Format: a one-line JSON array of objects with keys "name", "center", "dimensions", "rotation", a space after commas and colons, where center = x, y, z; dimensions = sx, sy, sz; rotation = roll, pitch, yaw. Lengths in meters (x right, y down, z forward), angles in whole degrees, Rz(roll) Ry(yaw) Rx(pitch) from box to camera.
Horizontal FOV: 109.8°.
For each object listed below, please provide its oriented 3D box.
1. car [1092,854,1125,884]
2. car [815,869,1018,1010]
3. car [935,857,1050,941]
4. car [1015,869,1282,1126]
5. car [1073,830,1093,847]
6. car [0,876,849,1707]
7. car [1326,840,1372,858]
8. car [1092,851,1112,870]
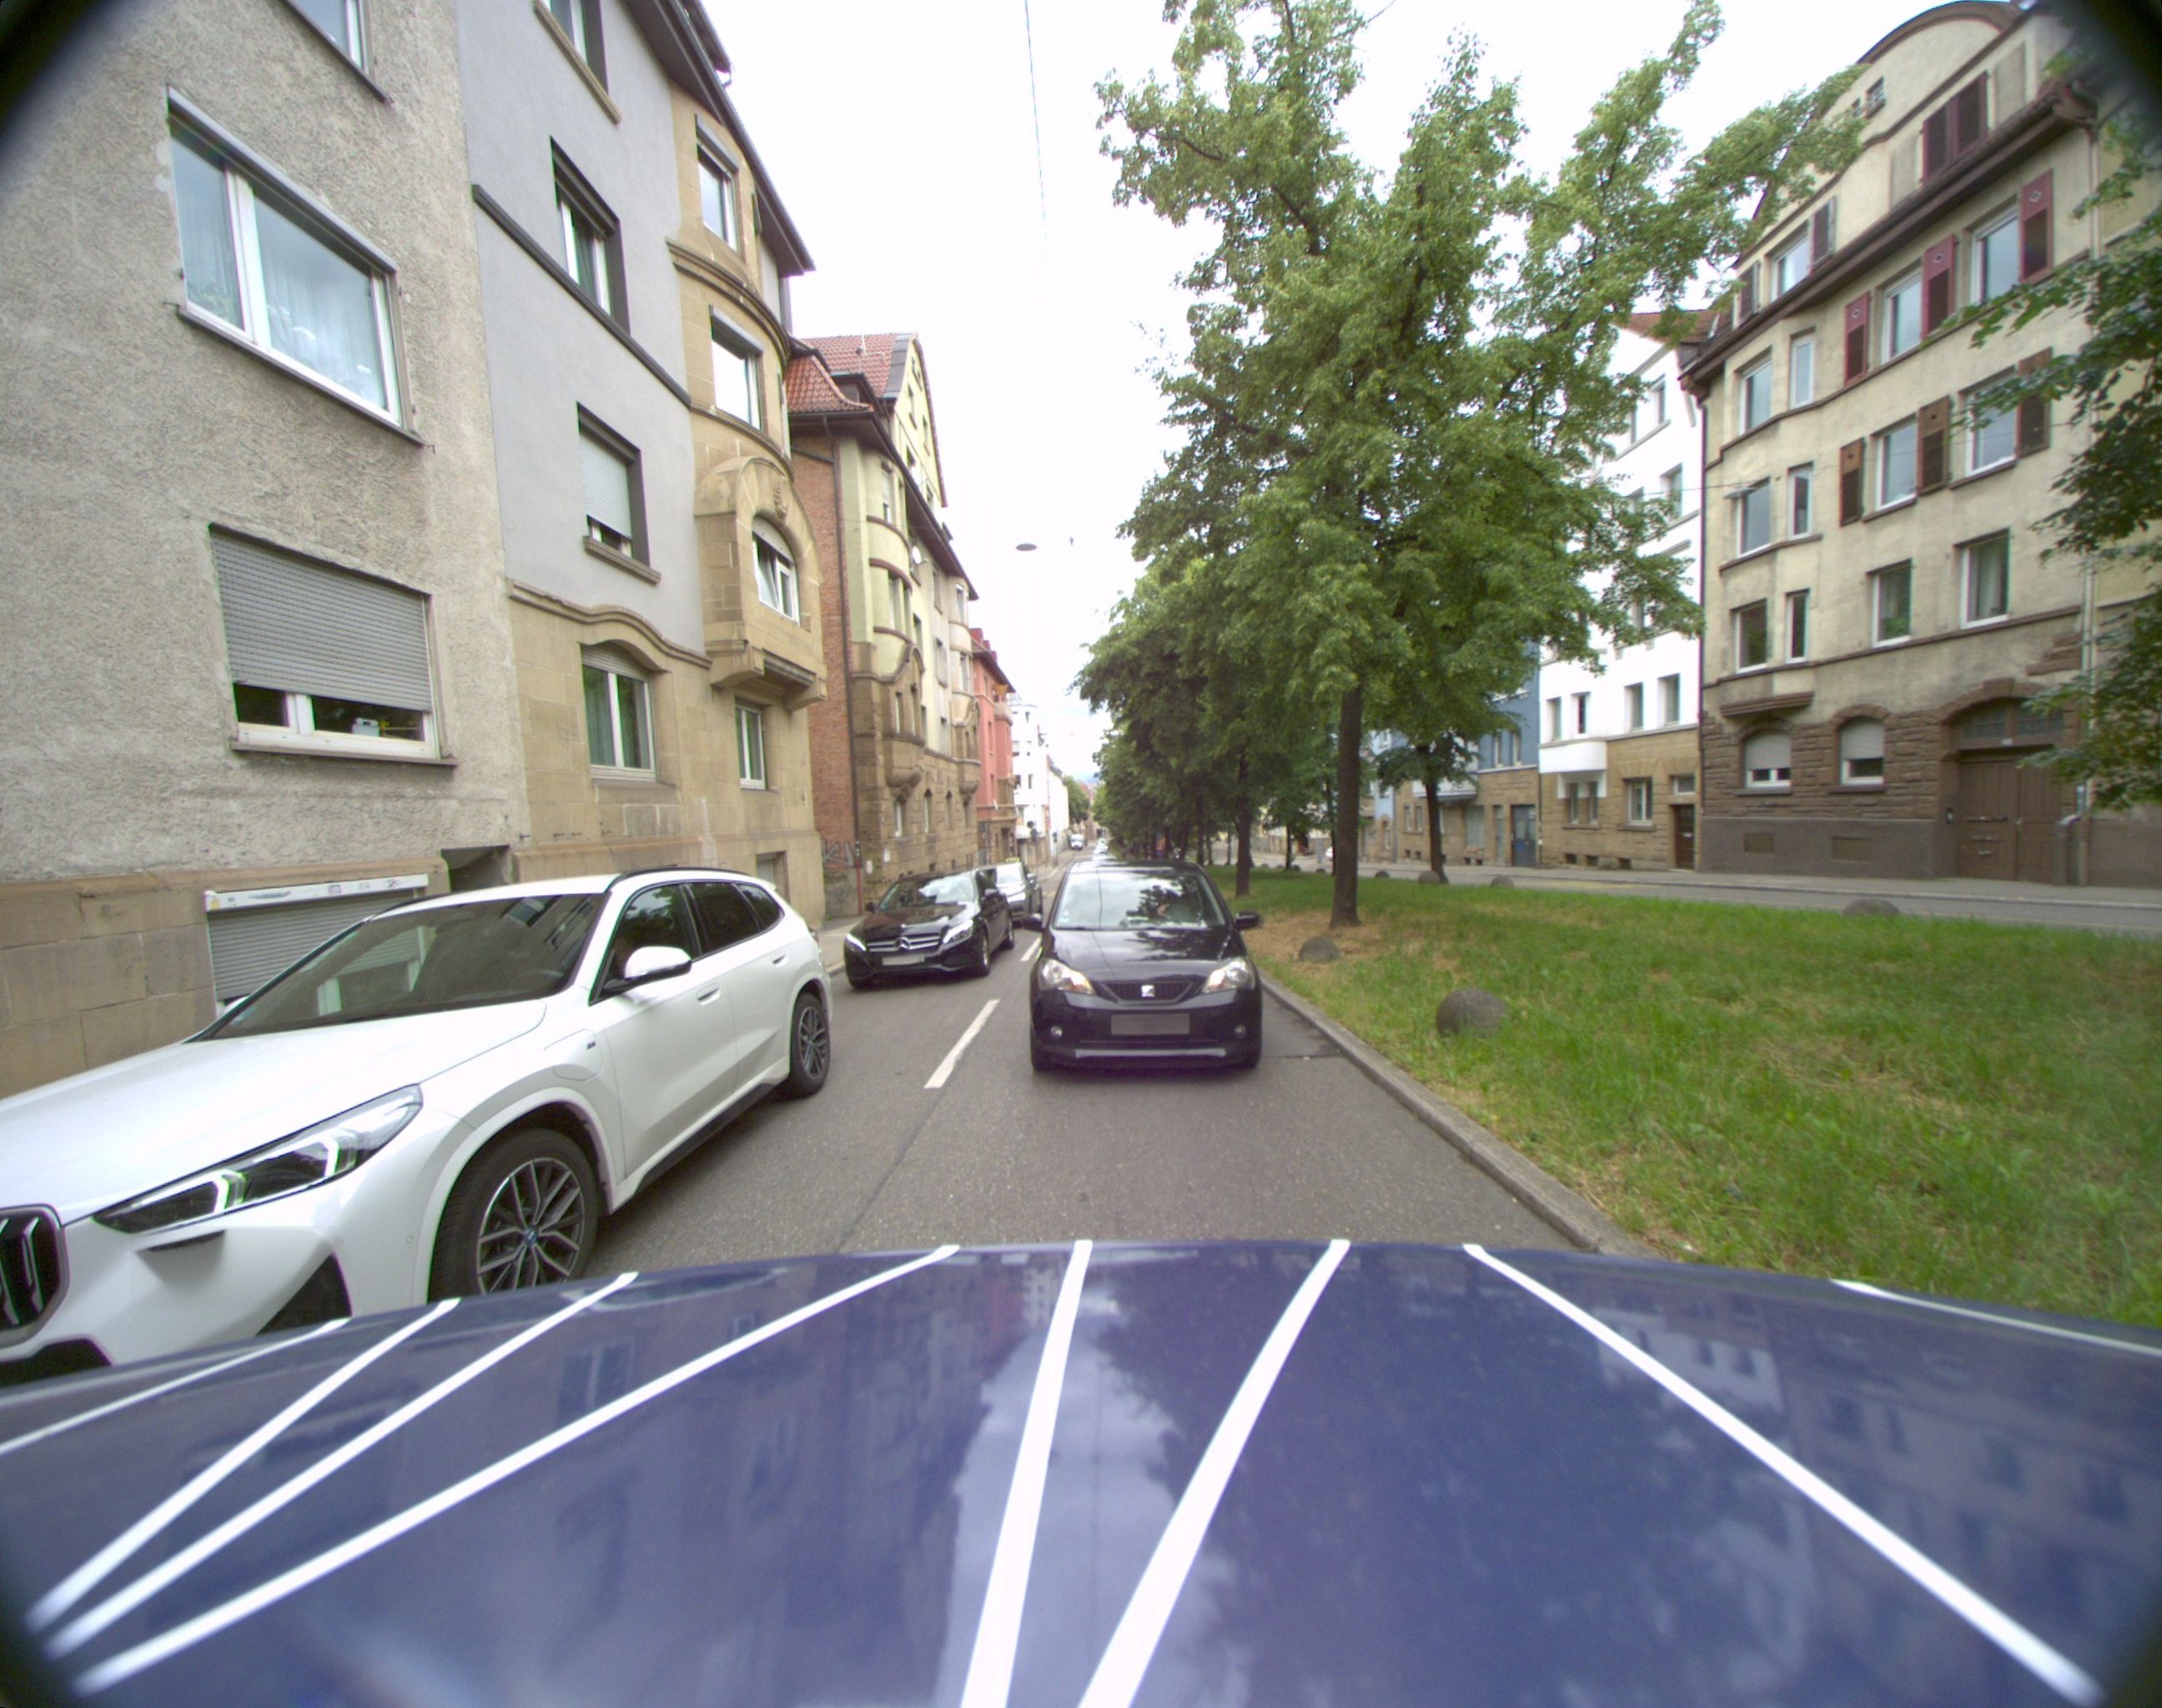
[{"name": "car", "center": [1.471, 0.796, 41.695], "dimensions": [1.664, 1.456, 3.580], "rotation": [-2, 1, 1]}, {"name": "car", "center": [-2.144, 1.071, 11.203], "dimensions": [1.884, 1.369, 4.205], "rotation": [-6, 1, 1]}, {"name": "car", "center": [-1.937, 0.952, 18.021], "dimensions": [1.936, 1.506, 4.303], "rotation": [-6, 1, 2]}, {"name": "car", "center": [0.432, 0.903, 6.245], "dimensions": [1.611, 1.457, 3.296], "rotation": [0, 1, 1]}, {"name": "car", "center": [0.472, -2.802, 138.359], "dimensions": [2.715, 2.879, 6.456], "rotation": [-2, 1, 8]}, {"name": "car", "center": [-2.815, 1.071, 3.708], "dimensions": [1.859, 1.547, 4.350], "rotation": [-6, 1, 0]}, {"name": "car", "center": [22.222, -0.434, 63.104], "dimensions": [3.291, 1.323, 1.672], "rotation": [-2, 1, 10]}, {"name": "car", "center": [1.767, 0.526, 65.628], "dimensions": [1.607, 1.492, 3.737], "rotation": [-2, 1, 1]}]
